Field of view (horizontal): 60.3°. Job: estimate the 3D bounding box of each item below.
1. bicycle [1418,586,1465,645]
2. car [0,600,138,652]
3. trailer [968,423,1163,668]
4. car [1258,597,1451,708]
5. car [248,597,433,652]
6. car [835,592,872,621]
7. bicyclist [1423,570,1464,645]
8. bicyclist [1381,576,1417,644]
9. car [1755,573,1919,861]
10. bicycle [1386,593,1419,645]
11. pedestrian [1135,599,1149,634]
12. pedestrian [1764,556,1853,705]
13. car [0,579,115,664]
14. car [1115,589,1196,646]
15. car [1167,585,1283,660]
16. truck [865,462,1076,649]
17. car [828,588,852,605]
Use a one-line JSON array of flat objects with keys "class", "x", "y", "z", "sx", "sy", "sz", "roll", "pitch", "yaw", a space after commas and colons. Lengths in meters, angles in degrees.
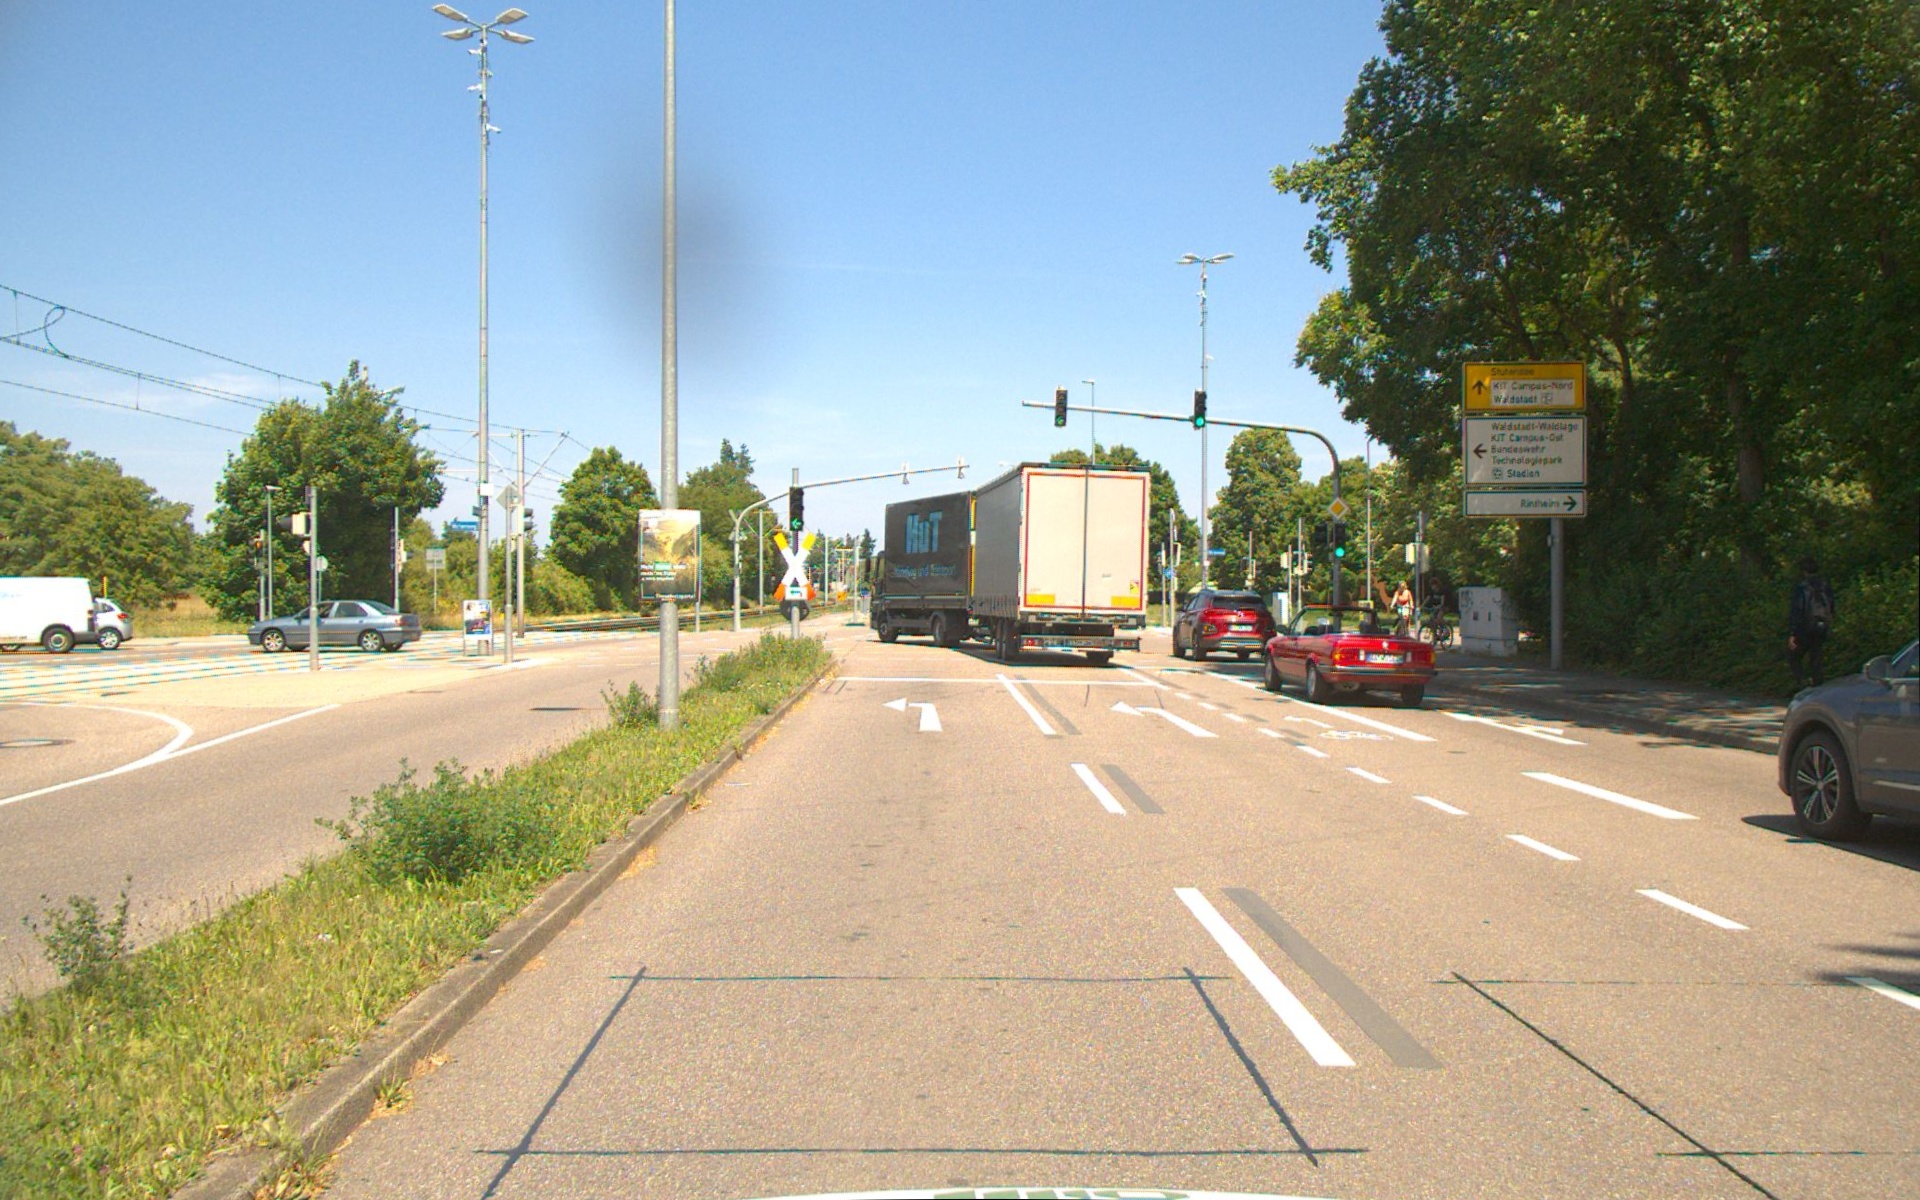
[{"class": "bicycle", "x": 11.386, "y": 0.362, "z": 39.078, "sx": 0.711, "sy": 1.318, "sz": 1.301, "roll": -3, "pitch": 0, "yaw": 31}, {"class": "car", "x": -25.796, "y": 0.719, "z": 46.820, "sx": 4.354, "sy": 1.395, "sz": 1.886, "roll": 0, "pitch": 1, "yaw": -23}, {"class": "trailer", "x": 1.999, "y": -1.056, "z": 35.270, "sx": 2.772, "sy": 4.498, "sz": 8.740, "roll": 1, "pitch": 0, "yaw": -5}, {"class": "car", "x": 5.688, "y": 0.703, "z": 24.342, "sx": 1.622, "sy": 1.421, "sz": 4.265, "roll": 1, "pitch": 0, "yaw": -3}, {"class": "car", "x": -16.859, "y": 0.661, "z": 45.148, "sx": 4.324, "sy": 1.395, "sz": 1.899, "roll": 0, "pitch": 1, "yaw": 1}, {"class": "car", "x": -5.477, "y": 0.333, "z": 85.624, "sx": 1.821, "sy": 1.396, "sz": 4.154, "roll": 1, "pitch": 0, "yaw": -3}, {"class": "bicyclist", "x": 11.456, "y": 0.171, "z": 39.195, "sx": 0.711, "sy": 1.733, "sz": 0.677, "roll": -3, "pitch": 0, "yaw": 32}, {"class": "bicyclist", "x": 11.581, "y": 0.259, "z": 43.673, "sx": 0.785, "sy": 1.757, "sz": 0.679, "roll": -2, "pitch": 0, "yaw": 9}, {"class": "car", "x": 6.463, "y": 0.704, "z": 9.324, "sx": 1.665, "sy": 1.683, "sz": 4.396, "roll": 1, "pitch": 0, "yaw": -3}, {"class": "bicycle", "x": 11.687, "y": 0.479, "z": 43.737, "sx": 0.630, "sy": 1.327, "sz": 1.627, "roll": -2, "pitch": 0, "yaw": 9}, {"class": "pedestrian", "x": 10.759, "y": 0.976, "z": 97.642, "sx": 0.727, "sy": 2.049, "sz": 0.613, "roll": 1, "pitch": 0, "yaw": -1}, {"class": "pedestrian", "x": 10.754, "y": 0.379, "z": 20.980, "sx": 0.738, "sy": 1.847, "sz": 0.693, "roll": -1, "pitch": 0, "yaw": -3}, {"class": "car", "x": -24.705, "y": 0.526, "z": 43.202, "sx": 4.676, "sy": 2.148, "sz": 1.983, "roll": 0, "pitch": 1, "yaw": -27}, {"class": "car", "x": 5.809, "y": 0.473, "z": 48.693, "sx": 1.951, "sy": 1.529, "sz": 4.506, "roll": 0, "pitch": 1, "yaw": 12}, {"class": "car", "x": 5.943, "y": 0.464, "z": 37.491, "sx": 1.821, "sy": 1.576, "sz": 3.885, "roll": 1, "pitch": 0, "yaw": -3}, {"class": "truck", "x": 0.073, "y": -1.072, "z": 43.831, "sx": 2.786, "sy": 4.420, "sz": 8.234, "roll": 2, "pitch": 0, "yaw": -20}, {"class": "car", "x": -9.835, "y": -0.301, "z": 135.724, "sx": 1.821, "sy": 1.396, "sz": 4.154, "roll": 1, "pitch": 0, "yaw": -3}]
